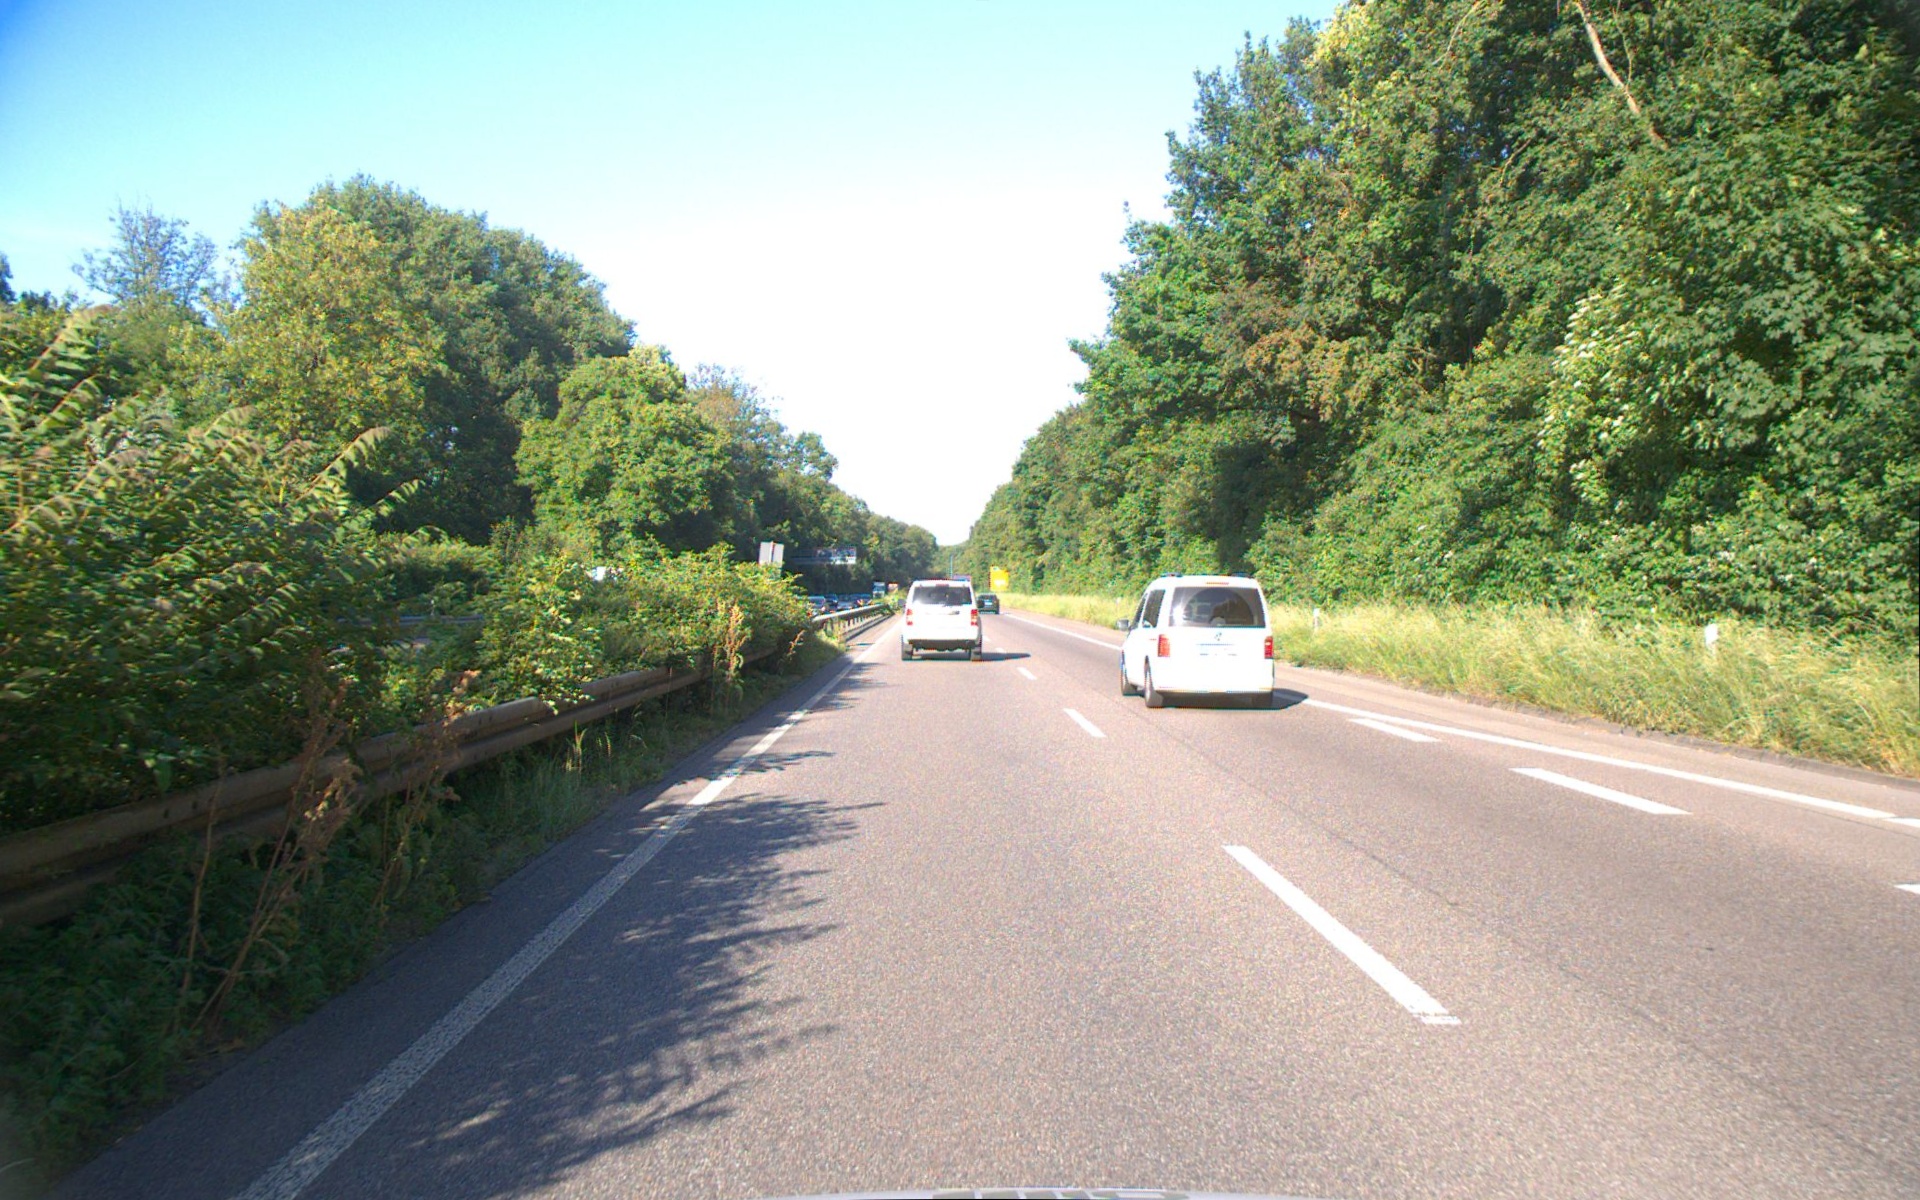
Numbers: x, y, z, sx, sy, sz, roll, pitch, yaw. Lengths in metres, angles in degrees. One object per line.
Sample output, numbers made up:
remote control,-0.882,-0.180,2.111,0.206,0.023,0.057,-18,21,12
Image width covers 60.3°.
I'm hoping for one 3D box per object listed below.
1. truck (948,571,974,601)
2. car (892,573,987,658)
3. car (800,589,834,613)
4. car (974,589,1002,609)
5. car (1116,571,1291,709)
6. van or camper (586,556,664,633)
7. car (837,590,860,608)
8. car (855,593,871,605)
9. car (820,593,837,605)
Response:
truck,0.113,-1.987,239.509,3.425,4.245,8.860,-1,0,-1
car,-0.524,0.319,38.098,2.044,1.860,3.998,0,0,-3
car,-9.358,0.059,108.621,1.921,1.567,4.463,0,0,-1
car,2.048,-0.105,123.375,1.953,1.422,3.999,1,0,-1
car,3.411,0.504,24.000,1.825,1.801,4.469,1,0,-1
van or camper,-12.691,-0.220,62.989,1.953,2.769,5.253,0,0,-1
car,-10.058,-0.137,149.672,1.839,1.567,4.463,-1,0,-1
car,-11.538,-0.092,197.090,1.798,1.380,4.474,0,0,-2
car,-15.262,-0.125,192.220,1.683,1.470,4.227,0,0,-2
